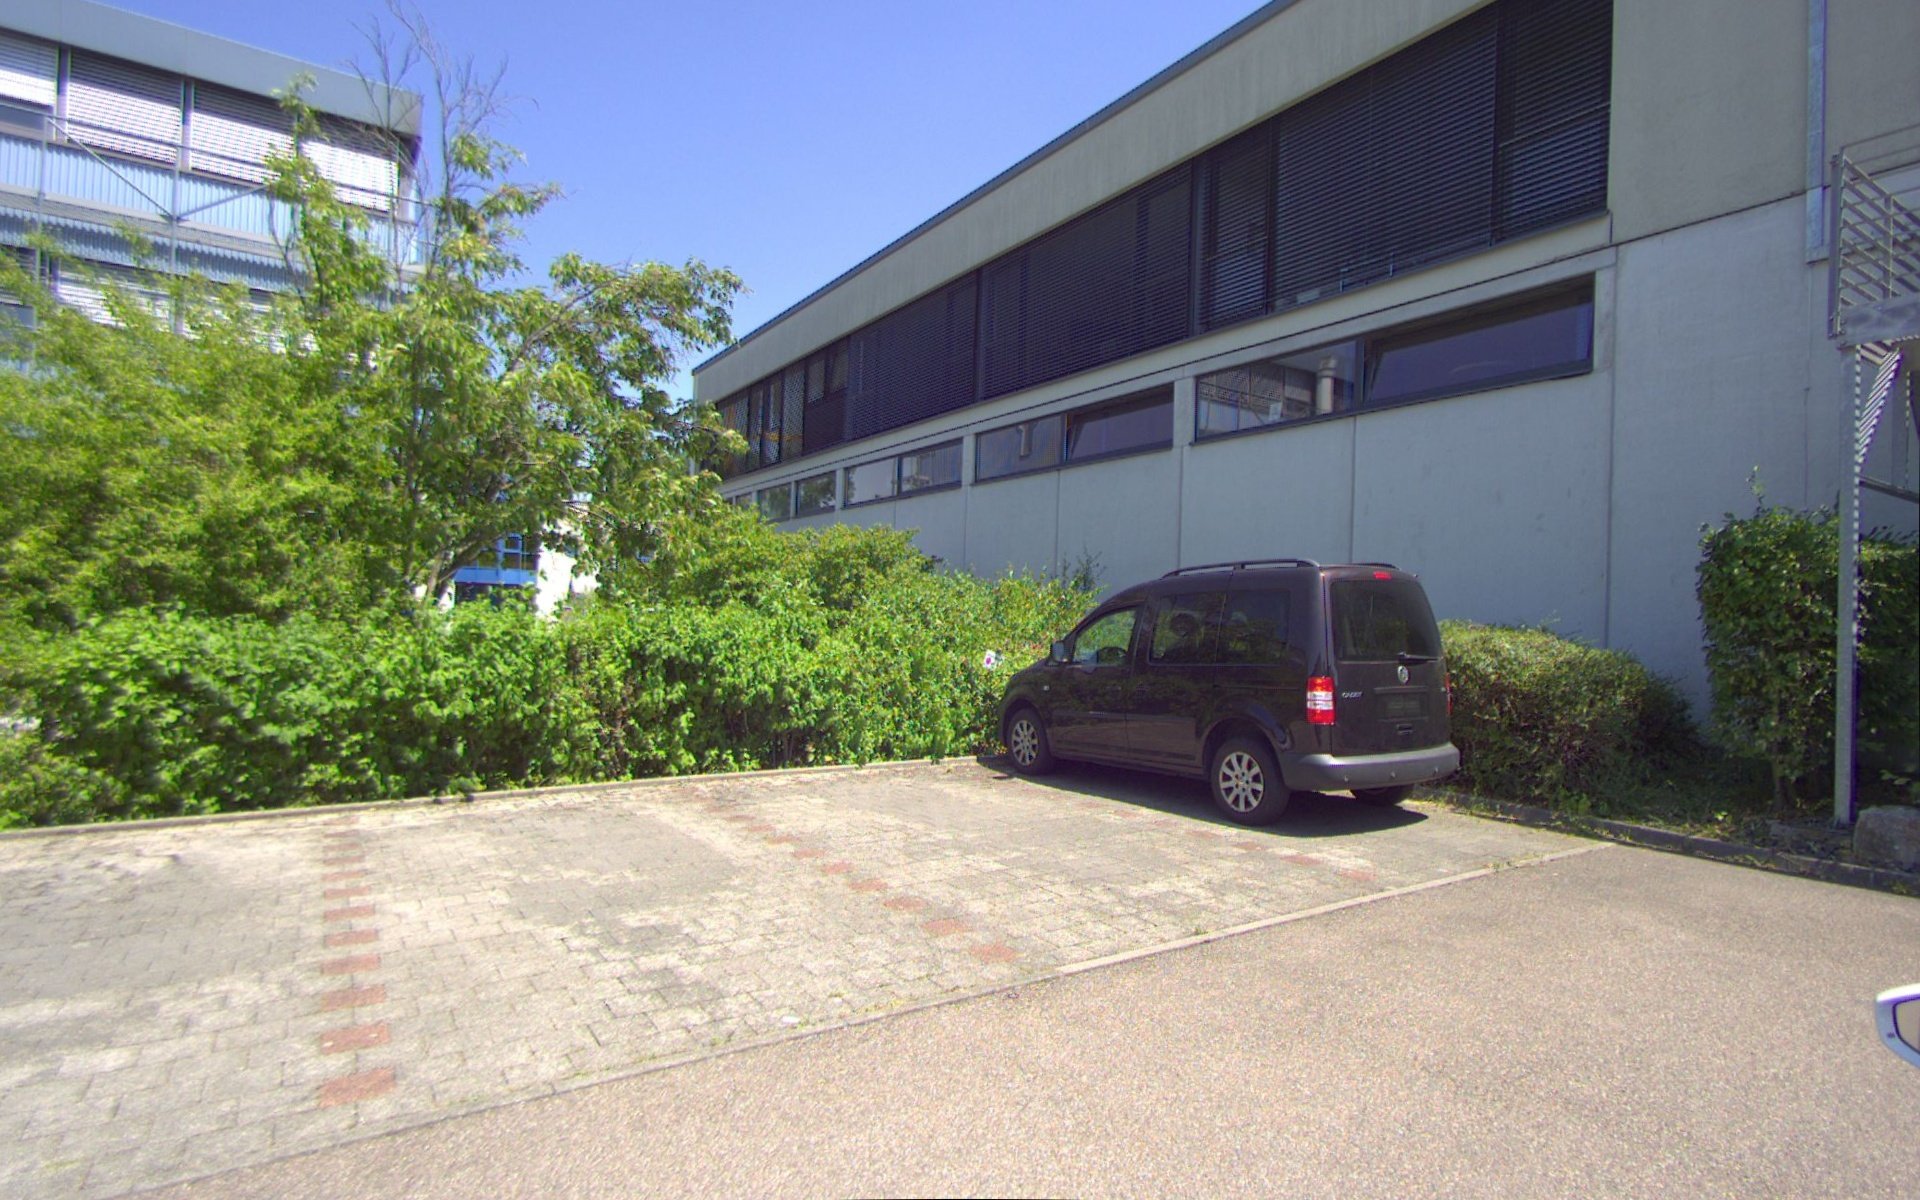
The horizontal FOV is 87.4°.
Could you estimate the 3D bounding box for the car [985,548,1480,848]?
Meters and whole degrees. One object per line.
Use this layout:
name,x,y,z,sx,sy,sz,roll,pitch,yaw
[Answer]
car,2.016,0.646,8.576,1.660,1.909,4.036,1,-1,-32
